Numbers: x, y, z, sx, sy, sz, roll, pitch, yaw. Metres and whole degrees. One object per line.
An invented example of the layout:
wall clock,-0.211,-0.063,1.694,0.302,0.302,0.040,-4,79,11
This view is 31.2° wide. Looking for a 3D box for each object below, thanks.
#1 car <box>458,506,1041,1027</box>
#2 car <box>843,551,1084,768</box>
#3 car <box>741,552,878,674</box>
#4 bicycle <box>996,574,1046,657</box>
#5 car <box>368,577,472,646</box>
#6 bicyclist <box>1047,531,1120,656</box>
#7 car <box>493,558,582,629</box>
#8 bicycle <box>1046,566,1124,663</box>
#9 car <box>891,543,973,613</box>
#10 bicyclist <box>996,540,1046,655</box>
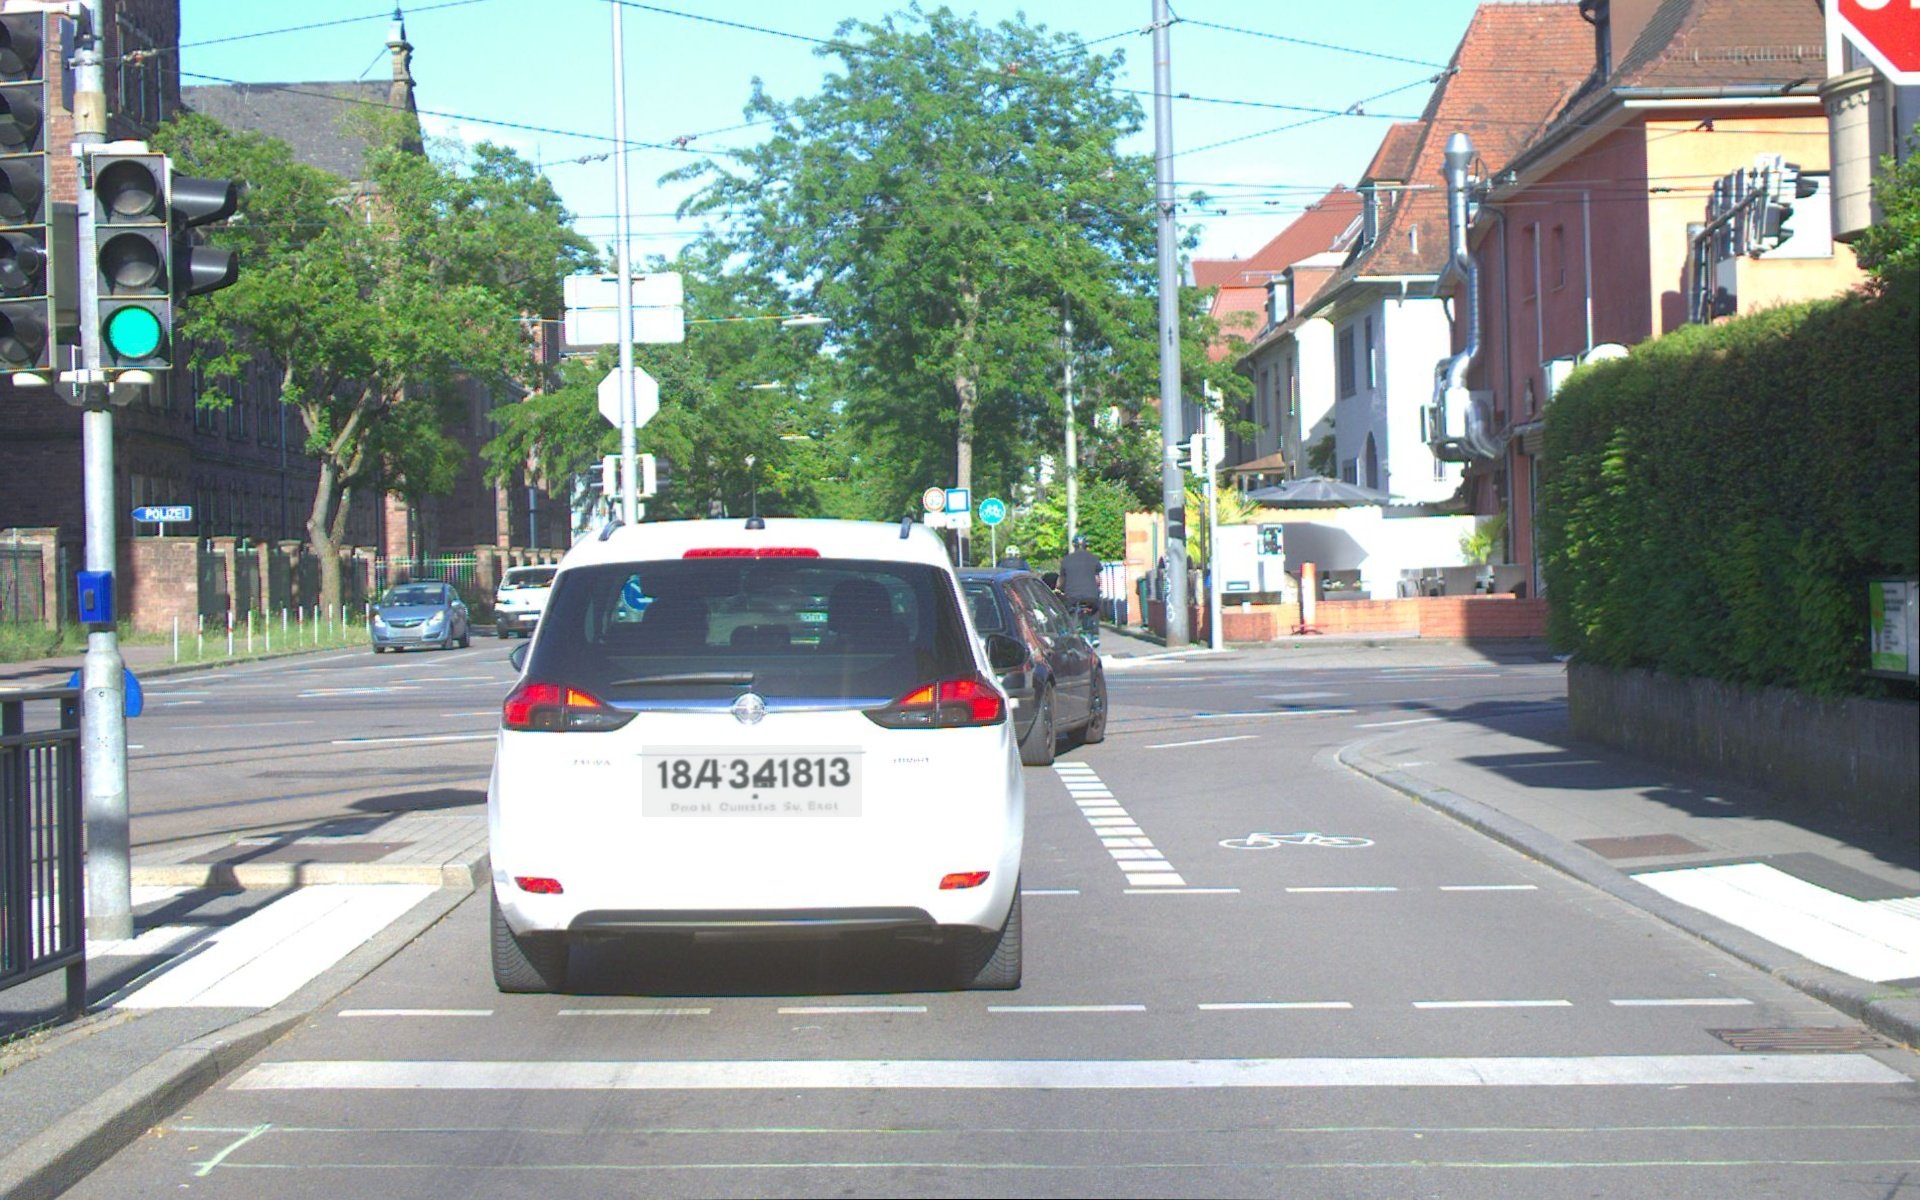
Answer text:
car,-0.662,0.519,12.871,1.835,1.636,3.918,-1,0,0
car,0.070,0.372,25.046,1.586,1.415,3.900,-2,1,1
car,-2.080,0.168,48.374,1.776,1.626,3.880,-1,0,0
bicycle,0.876,0.215,49.154,0.685,1.153,1.619,0,0,2
car,-11.671,0.230,74.521,1.581,1.436,3.584,-1,0,2
bicyclist,1.502,-0.081,41.992,0.821,1.496,0.934,-1,0,-1
car,-10.954,-0.167,89.234,1.892,1.777,3.881,-1,0,-1
bicycle,1.510,0.169,41.971,0.829,1.150,2.095,-1,0,-1
car,-0.643,-0.532,82.389,1.776,1.626,3.880,-1,0,2
bicyclist,0.876,-0.039,49.130,0.685,1.629,1.015,-1,0,2
